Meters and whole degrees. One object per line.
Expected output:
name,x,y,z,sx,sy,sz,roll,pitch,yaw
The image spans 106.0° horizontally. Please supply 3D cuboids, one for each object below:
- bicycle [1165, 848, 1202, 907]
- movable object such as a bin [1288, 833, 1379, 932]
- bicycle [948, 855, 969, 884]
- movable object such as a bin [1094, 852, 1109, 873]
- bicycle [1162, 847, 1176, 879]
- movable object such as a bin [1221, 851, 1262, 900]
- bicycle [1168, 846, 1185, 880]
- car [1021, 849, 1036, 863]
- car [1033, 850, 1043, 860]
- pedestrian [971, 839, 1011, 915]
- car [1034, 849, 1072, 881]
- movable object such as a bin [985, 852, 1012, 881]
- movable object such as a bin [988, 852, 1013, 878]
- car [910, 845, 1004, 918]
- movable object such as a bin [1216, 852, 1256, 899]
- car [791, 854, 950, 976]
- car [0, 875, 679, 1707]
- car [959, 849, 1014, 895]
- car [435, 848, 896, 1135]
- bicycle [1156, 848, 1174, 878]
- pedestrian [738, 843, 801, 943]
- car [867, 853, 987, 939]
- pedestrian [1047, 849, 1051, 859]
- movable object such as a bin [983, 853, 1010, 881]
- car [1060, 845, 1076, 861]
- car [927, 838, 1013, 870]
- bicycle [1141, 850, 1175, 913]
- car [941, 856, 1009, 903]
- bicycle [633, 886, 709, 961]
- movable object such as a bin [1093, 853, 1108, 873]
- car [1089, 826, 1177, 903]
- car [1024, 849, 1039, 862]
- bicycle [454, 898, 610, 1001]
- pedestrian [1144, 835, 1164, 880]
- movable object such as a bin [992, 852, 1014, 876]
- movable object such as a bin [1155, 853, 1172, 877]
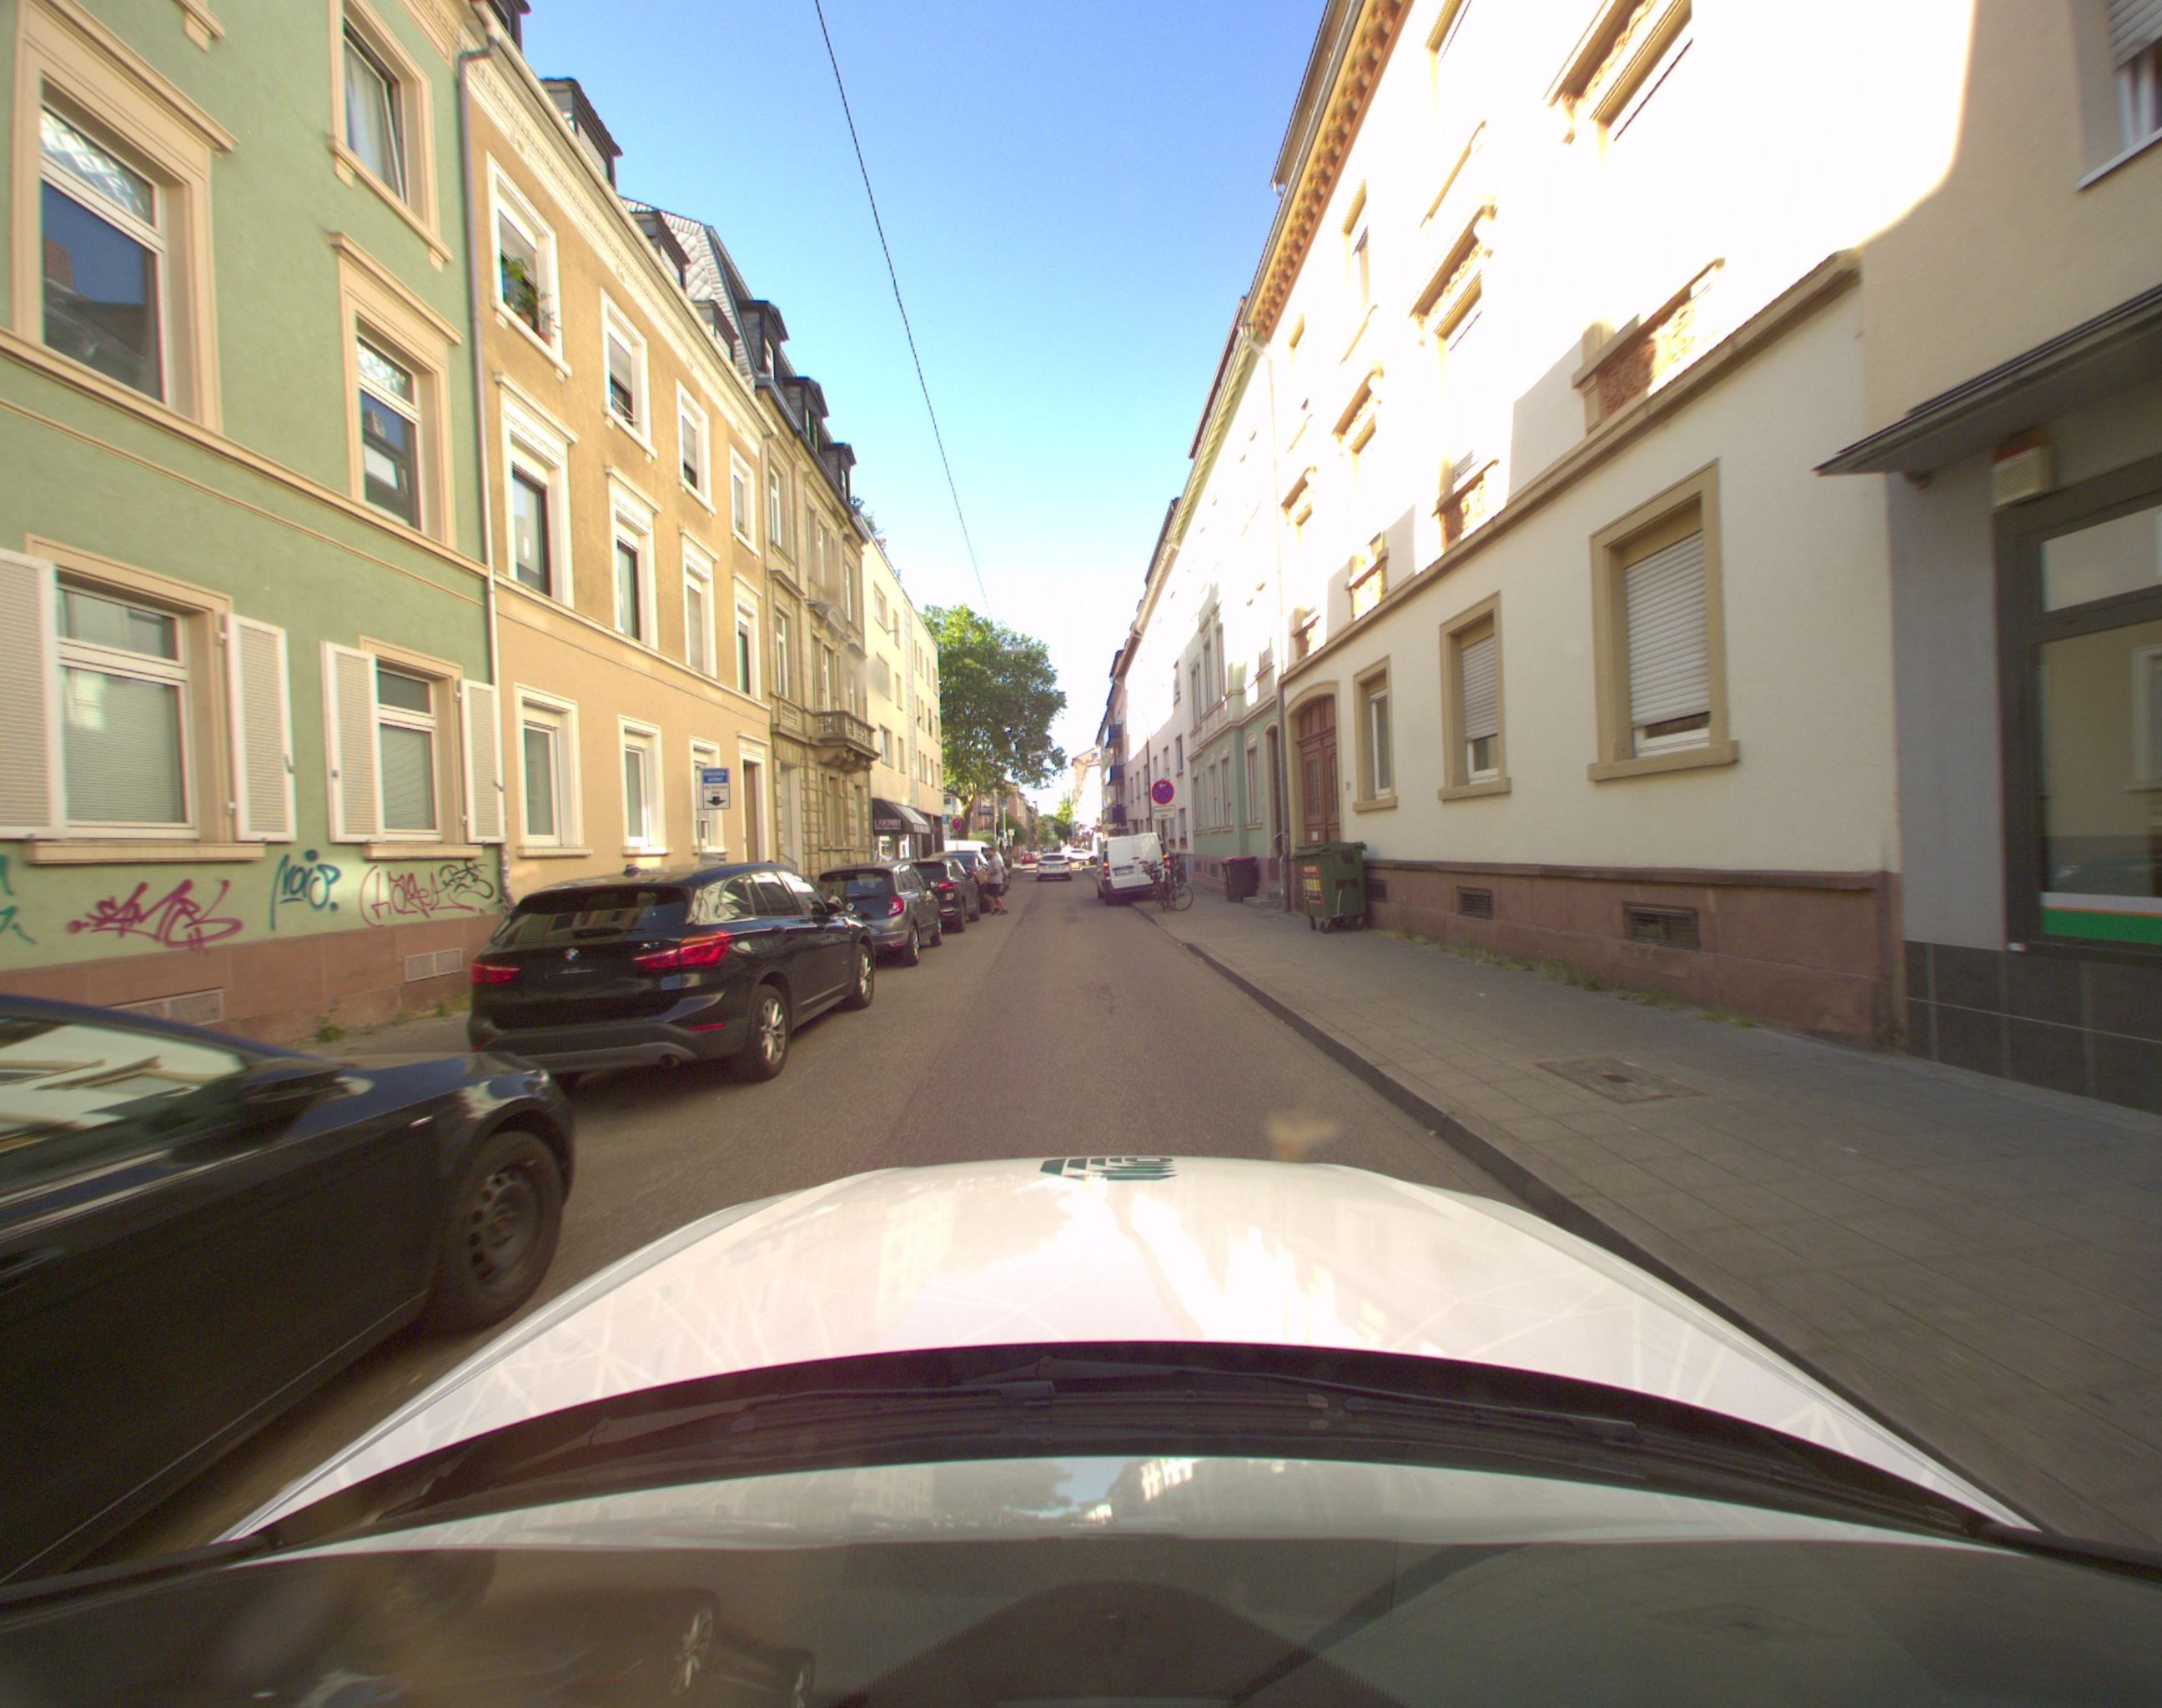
bicycle,2.409,0.526,19.339,0.572,1.271,2.200,-5,0,2
movable object such as a bin,3.887,0.434,12.656,0.835,1.389,1.295,-5,-1,-3
bicycle,-5.777,0.731,38.434,0.463,1.331,1.857,1,-1,7
movable object such as a bin,1.125,0.472,44.879,0.730,1.080,0.703,-3,0,-1
bicycle,3.445,0.346,32.071,0.435,1.206,2.269,-3,0,5
movable object such as a bin,3.778,0.491,19.247,0.794,1.096,0.642,-3,0,0
bicycle,3.601,0.333,30.741,0.403,1.206,2.160,-3,0,2
car,-6.679,0.272,104.129,1.765,1.588,3.723,-3,1,-2
car,-7.161,0.220,136.332,1.568,1.585,3.609,-3,0,-1
pedestrian,-2.266,0.569,20.601,0.863,1.836,0.883,-3,0,-2
car,-1.483,0.558,43.097,1.819,1.514,3.820,-3,0,-2
movable object such as a bin,-4.669,0.700,45.963,1.331,1.484,1.093,-4,0,-2
movable object such as a bin,-4.718,0.635,48.042,1.340,1.499,1.017,-2,0,-2
car,-3.413,0.681,23.420,1.931,1.736,5.139,-4,0,-2
movable object such as a bin,3.784,0.511,19.918,0.810,1.088,0.673,-3,0,0
car,-3.193,0.827,13.142,1.612,1.553,3.974,-3,0,-3
car,-2.788,0.933,1.503,1.710,1.488,4.848,-5,0,-2
car,-3.945,0.697,34.579,1.778,1.666,4.667,-4,0,-2
car,-3.088,0.834,7.350,1.739,1.615,4.601,-4,1,-1
bicycle,3.405,0.361,33.158,0.566,1.153,1.869,-3,0,3
pedestrian,-5.551,0.672,14.563,0.762,1.714,0.882,-1,1,-3
car,-3.219,0.814,17.909,1.708,1.531,4.366,-4,0,0
pedestrian,-5.978,0.014,153.760,0.645,1.797,0.639,-3,0,-1
movable object such as a bin,-4.639,0.718,44.791,1.316,1.450,1.186,-4,0,-2
car,-1.725,-0.150,107.542,1.939,1.948,4.072,-2,0,-4
car,-9.097,-0.002,67.272,6.718,2.555,2.145,0,0,-1
bicycle,1.769,0.595,18.992,0.573,1.320,2.200,-4,1,2
car,-3.707,0.856,29.207,1.840,1.417,4.814,-4,0,-2
bicycle,-6.691,1.098,13.360,0.401,1.056,1.833,-3,0,-5
movable object such as a bin,1.098,0.483,45.591,0.765,1.086,0.693,-3,0,-1
car,1.457,0.263,24.942,1.978,1.883,5.595,-6,1,-2
car,-6.646,0.197,109.729,1.715,1.682,3.724,-3,0,-1
bicycle,-6.659,1.117,10.011,0.359,1.028,1.921,-3,0,8
pedestrian,2.871,0.148,32.103,0.651,1.711,0.688,-3,0,10
movable object such as a bin,-4.903,0.623,51.293,1.298,1.451,1.115,-2,0,-6
movable object such as a bin,3.477,0.462,34.429,0.575,0.924,0.607,-5,0,-2
